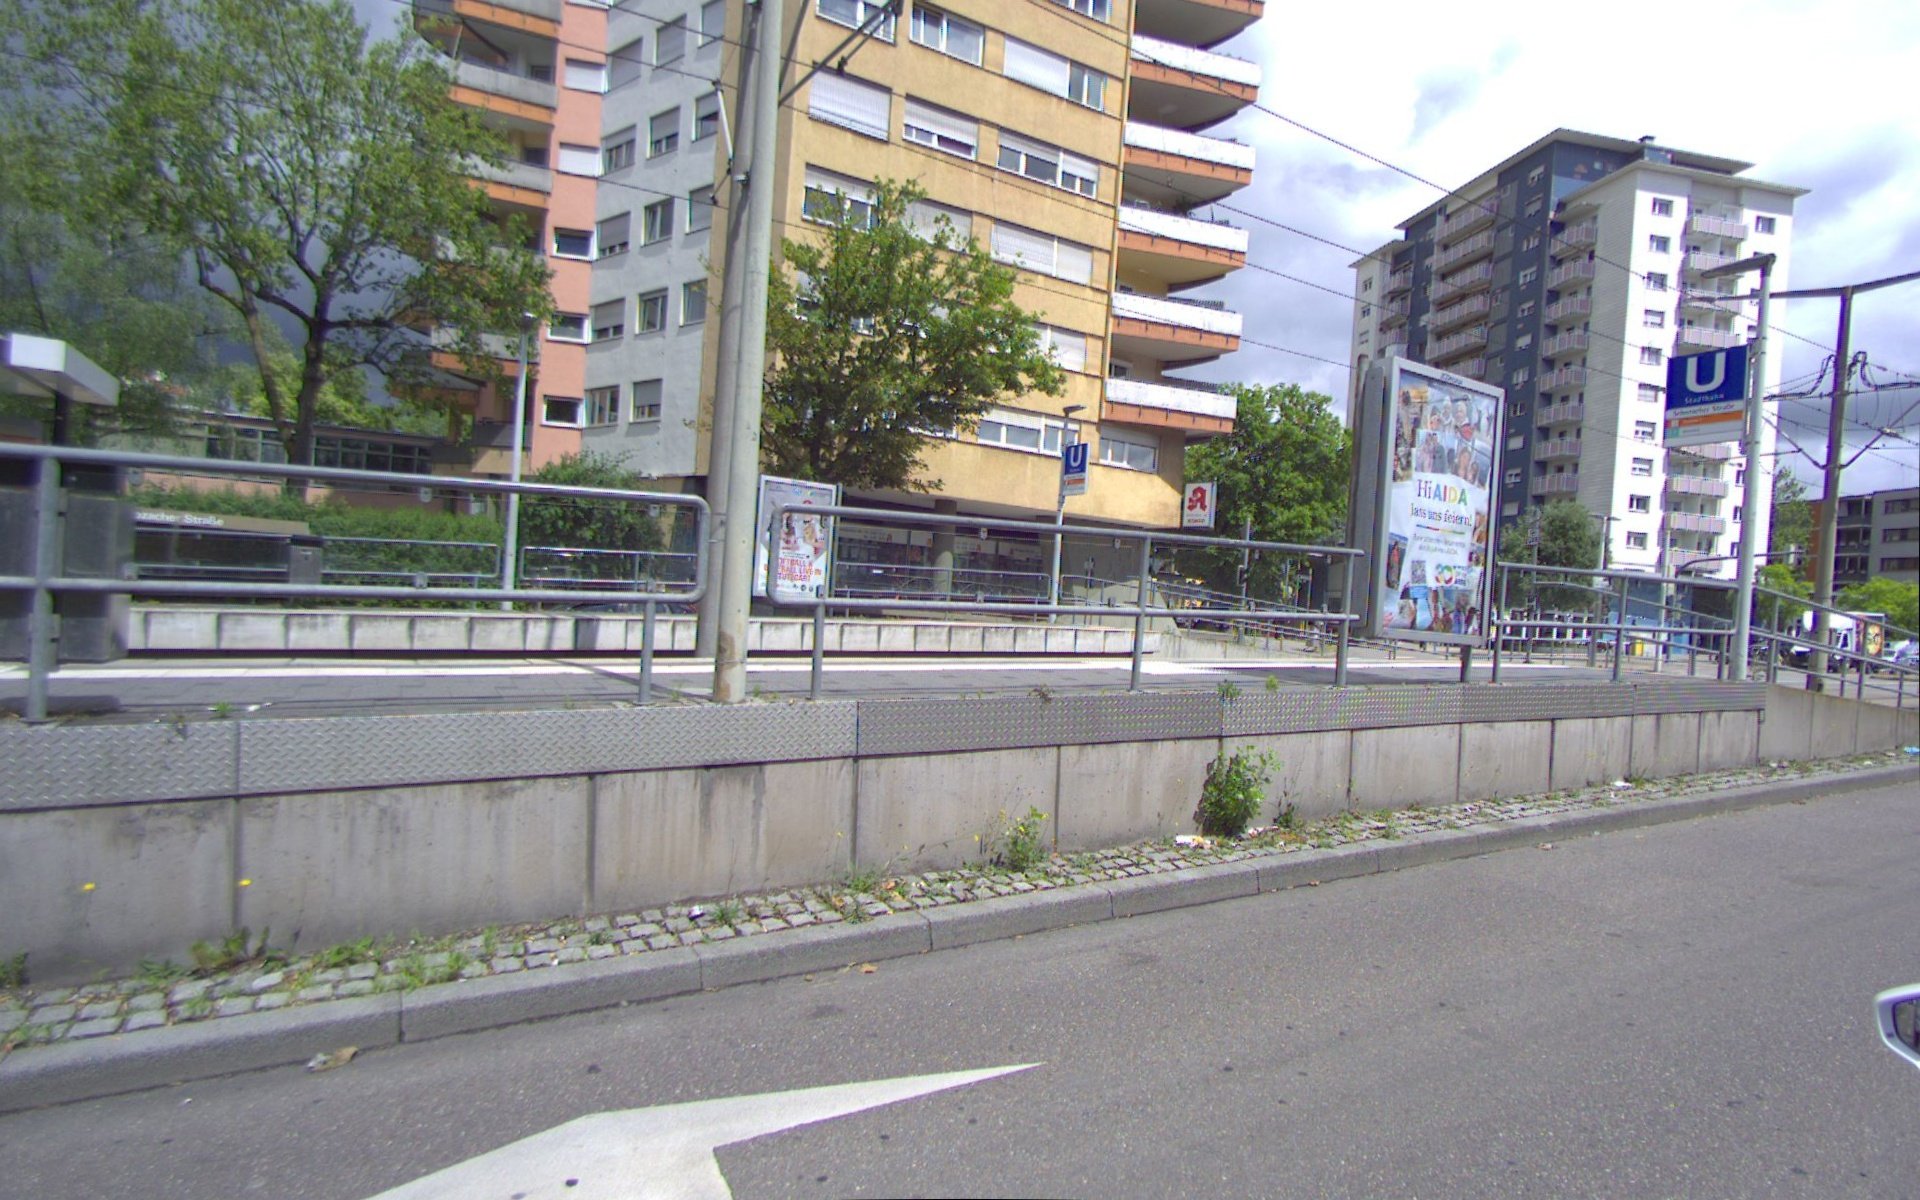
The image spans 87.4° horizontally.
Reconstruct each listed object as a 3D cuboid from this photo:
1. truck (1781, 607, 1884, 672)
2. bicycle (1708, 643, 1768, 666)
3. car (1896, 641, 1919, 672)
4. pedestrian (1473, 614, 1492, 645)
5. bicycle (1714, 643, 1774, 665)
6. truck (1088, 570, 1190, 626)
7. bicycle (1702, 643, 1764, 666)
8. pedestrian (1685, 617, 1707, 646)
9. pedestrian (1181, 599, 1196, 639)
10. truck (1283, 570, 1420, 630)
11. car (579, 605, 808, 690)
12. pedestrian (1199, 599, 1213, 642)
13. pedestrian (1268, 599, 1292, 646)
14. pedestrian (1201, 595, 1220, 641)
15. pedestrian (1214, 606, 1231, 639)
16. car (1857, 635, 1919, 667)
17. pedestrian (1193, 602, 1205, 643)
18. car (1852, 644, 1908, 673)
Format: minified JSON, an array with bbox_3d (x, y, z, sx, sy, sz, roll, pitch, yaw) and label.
[{"bbox_3d":[45.931,2.101,52.812,7.244,3.159,2.267,2,0,-34],"label":"truck"},{"bbox_3d":[42.557,2.959,54.982,2.521,1.022,0.754,4,0,33],"label":"bicycle"},{"bbox_3d":[58.366,3.414,60.754,3.732,1.780,1.583,2,0,-31],"label":"car"},{"bbox_3d":[35.921,2.030,69.064,0.831,2.040,0.861,2,0,-2],"label":"pedestrian"},{"bbox_3d":[43.416,2.988,55.675,2.521,1.022,0.754,4,0,33],"label":"bicycle"},{"bbox_3d":[7.984,-0.110,45.238,2.323,2.320,4.260,2,0,-29],"label":"truck"},{"bbox_3d":[41.743,2.918,54.276,2.521,1.022,0.754,4,0,33],"label":"bicycle"},{"bbox_3d":[52.825,2.286,72.083,0.832,2.040,0.860,2,0,-12],"label":"pedestrian"},{"bbox_3d":[11.674,0.972,51.280,0.531,2.040,0.560,2,0,35],"label":"pedestrian"},{"bbox_3d":[20.959,-0.009,54.244,2.718,2.979,7.258,2,0,-20],"label":"truck"},{"bbox_3d":[-4.929,0.865,18.699,3.820,1.424,1.571,2,0,-30],"label":"car"},{"bbox_3d":[11.850,0.963,48.325,0.530,2.040,0.562,2,0,23],"label":"pedestrian"},{"bbox_3d":[12.604,0.880,39.561,0.649,1.799,0.658,2,0,-1],"label":"pedestrian"},{"bbox_3d":[11.293,0.793,45.298,0.532,2.040,0.559,2,0,-21],"label":"pedestrian"},{"bbox_3d":[11.598,1.003,44.411,0.542,1.459,0.497,2,-2,-22],"label":"pedestrian"},{"bbox_3d":[64.520,3.505,69.028,3.846,2.001,1.657,2,0,18],"label":"car"},{"bbox_3d":[11.879,1.123,49.925,0.529,2.040,0.562,1,0,7],"label":"pedestrian"},{"bbox_3d":[52.227,3.320,57.025,3.733,1.480,1.399,2,0,-32],"label":"car"}]
